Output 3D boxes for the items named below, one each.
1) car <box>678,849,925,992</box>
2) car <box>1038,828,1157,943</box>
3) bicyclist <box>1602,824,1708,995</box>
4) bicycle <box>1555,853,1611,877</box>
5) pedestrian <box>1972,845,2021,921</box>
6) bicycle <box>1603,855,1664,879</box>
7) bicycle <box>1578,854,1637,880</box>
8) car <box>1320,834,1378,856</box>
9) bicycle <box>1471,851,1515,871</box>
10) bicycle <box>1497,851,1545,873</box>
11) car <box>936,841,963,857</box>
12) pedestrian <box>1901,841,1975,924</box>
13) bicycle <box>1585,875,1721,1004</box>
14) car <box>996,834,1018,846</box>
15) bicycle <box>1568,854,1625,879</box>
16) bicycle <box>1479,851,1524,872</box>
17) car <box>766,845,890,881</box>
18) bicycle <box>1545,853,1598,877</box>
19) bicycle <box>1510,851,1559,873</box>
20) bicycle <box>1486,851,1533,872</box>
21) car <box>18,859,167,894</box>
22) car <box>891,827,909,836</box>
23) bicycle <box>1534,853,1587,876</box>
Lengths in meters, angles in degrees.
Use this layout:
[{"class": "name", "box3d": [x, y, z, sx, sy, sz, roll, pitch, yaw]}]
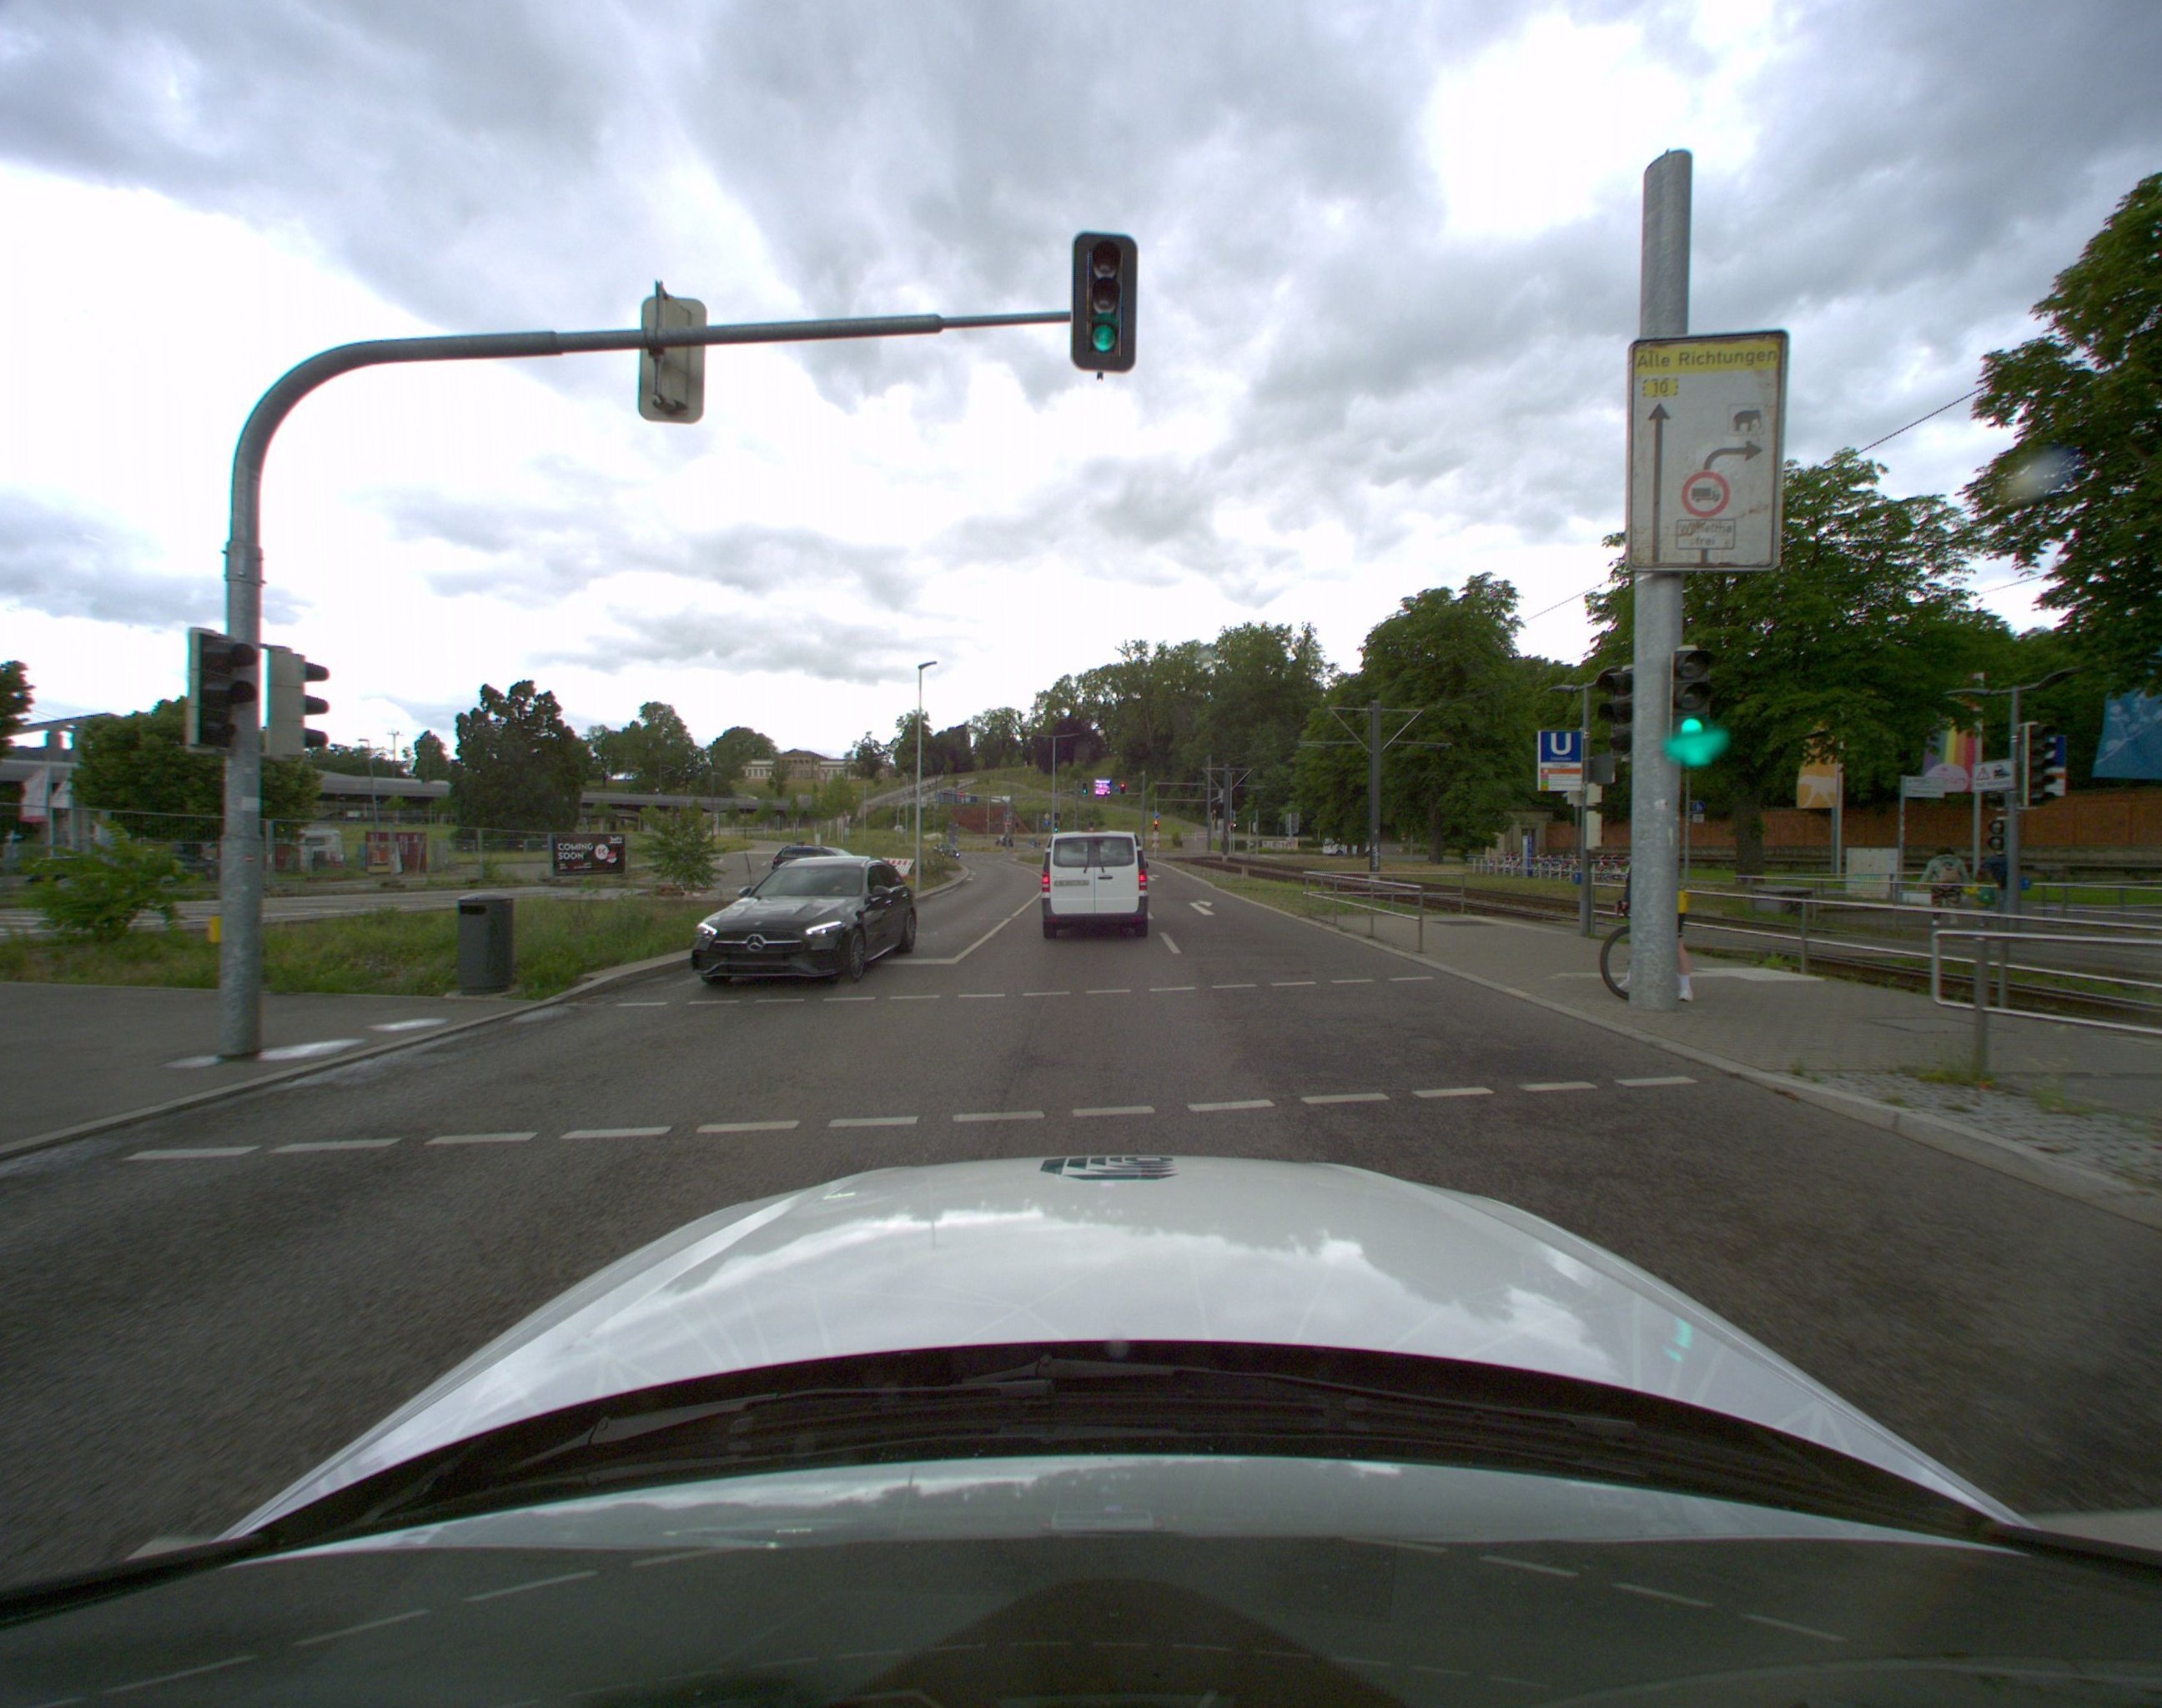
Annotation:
[{"class": "car", "box3d": [-3.451, 0.724, 11.034, 1.724, 1.529, 4.445, -1, 0, 1]}, {"class": "car", "box3d": [0.253, 0.494, 15.715, 1.953, 1.903, 4.460, 0, 1, -1]}, {"class": "bicyclist", "box3d": [5.626, 0.503, 7.982, 0.810, 1.572, 0.611, 0, 2, -38]}, {"class": "bicycle", "box3d": [20.341, 0.445, 33.016, 1.905, 0.975, 0.531, 0, 0, 1]}, {"class": "pedestrian", "box3d": [18.538, 0.576, 16.498, 0.498, 1.502, 0.513, 0, 0, -21]}, {"class": "bicycle", "box3d": [20.540, 0.479, 30.311, 1.905, 0.895, 0.531, 0, 0, 1]}, {"class": "bicycle", "box3d": [20.314, 0.502, 31.429, 1.905, 0.975, 0.531, 0, 0, 1]}, {"class": "car", "box3d": [27.106, -0.891, 82.496, 5.131, 2.013, 2.202, 1, 0, -8]}, {"class": "bicycle", "box3d": [20.336, 0.362, 40.227, 1.905, 0.975, 0.531, 0, 0, 1]}, {"class": "bicycle", "box3d": [20.314, 0.360, 37.593, 1.905, 0.975, 0.531, 0, 0, 1]}, {"class": "car", "box3d": [-12.367, -0.476, 76.340, 1.884, 1.477, 3.975, -1, 1, -19]}, {"class": "pedestrian", "box3d": [17.295, 0.551, 16.436, 0.835, 1.609, 0.773, 0, 0, -21]}, {"class": "bicycle", "box3d": [5.653, 0.780, 8.019, 1.692, 1.074, 0.613, -1, 2, -38]}, {"class": "car", "box3d": [-10.434, -1.940, 114.705, 1.946, 1.627, 3.969, 1, 1, -24]}, {"class": "bicycle", "box3d": [20.282, 0.498, 32.077, 1.905, 0.975, 0.531, 0, 0, 1]}, {"class": "bicycle", "box3d": [20.267, 0.362, 39.303, 1.905, 0.975, 0.531, 0, 0, 1]}, {"class": "car", "box3d": [-10.862, 0.350, 35.136, 4.679, 1.477, 2.007, 0, 1, 11]}, {"class": "bicycle", "box3d": [20.327, 0.445, 33.757, 1.905, 0.975, 0.531, 0, 0, 1]}, {"class": "bicycle", "box3d": [20.484, 0.361, 36.775, 1.905, 0.975, 0.531, 0, 0, 1]}, {"class": "bicycle", "box3d": [20.164, 0.361, 38.322, 1.905, 0.975, 0.531, 0, 0, 1]}, {"class": "car", "box3d": [-42.292, 0.921, 34.932, 1.781, 1.291, 3.946, 0, 1, 36]}, {"class": "car", "box3d": [-33.147, -4.169, 148.875, 1.950, 1.627, 3.961, 1, 1, -31]}, {"class": "bicycle", "box3d": [20.334, 0.431, 34.539, 1.905, 0.975, 0.531, 0, 0, 1]}]
